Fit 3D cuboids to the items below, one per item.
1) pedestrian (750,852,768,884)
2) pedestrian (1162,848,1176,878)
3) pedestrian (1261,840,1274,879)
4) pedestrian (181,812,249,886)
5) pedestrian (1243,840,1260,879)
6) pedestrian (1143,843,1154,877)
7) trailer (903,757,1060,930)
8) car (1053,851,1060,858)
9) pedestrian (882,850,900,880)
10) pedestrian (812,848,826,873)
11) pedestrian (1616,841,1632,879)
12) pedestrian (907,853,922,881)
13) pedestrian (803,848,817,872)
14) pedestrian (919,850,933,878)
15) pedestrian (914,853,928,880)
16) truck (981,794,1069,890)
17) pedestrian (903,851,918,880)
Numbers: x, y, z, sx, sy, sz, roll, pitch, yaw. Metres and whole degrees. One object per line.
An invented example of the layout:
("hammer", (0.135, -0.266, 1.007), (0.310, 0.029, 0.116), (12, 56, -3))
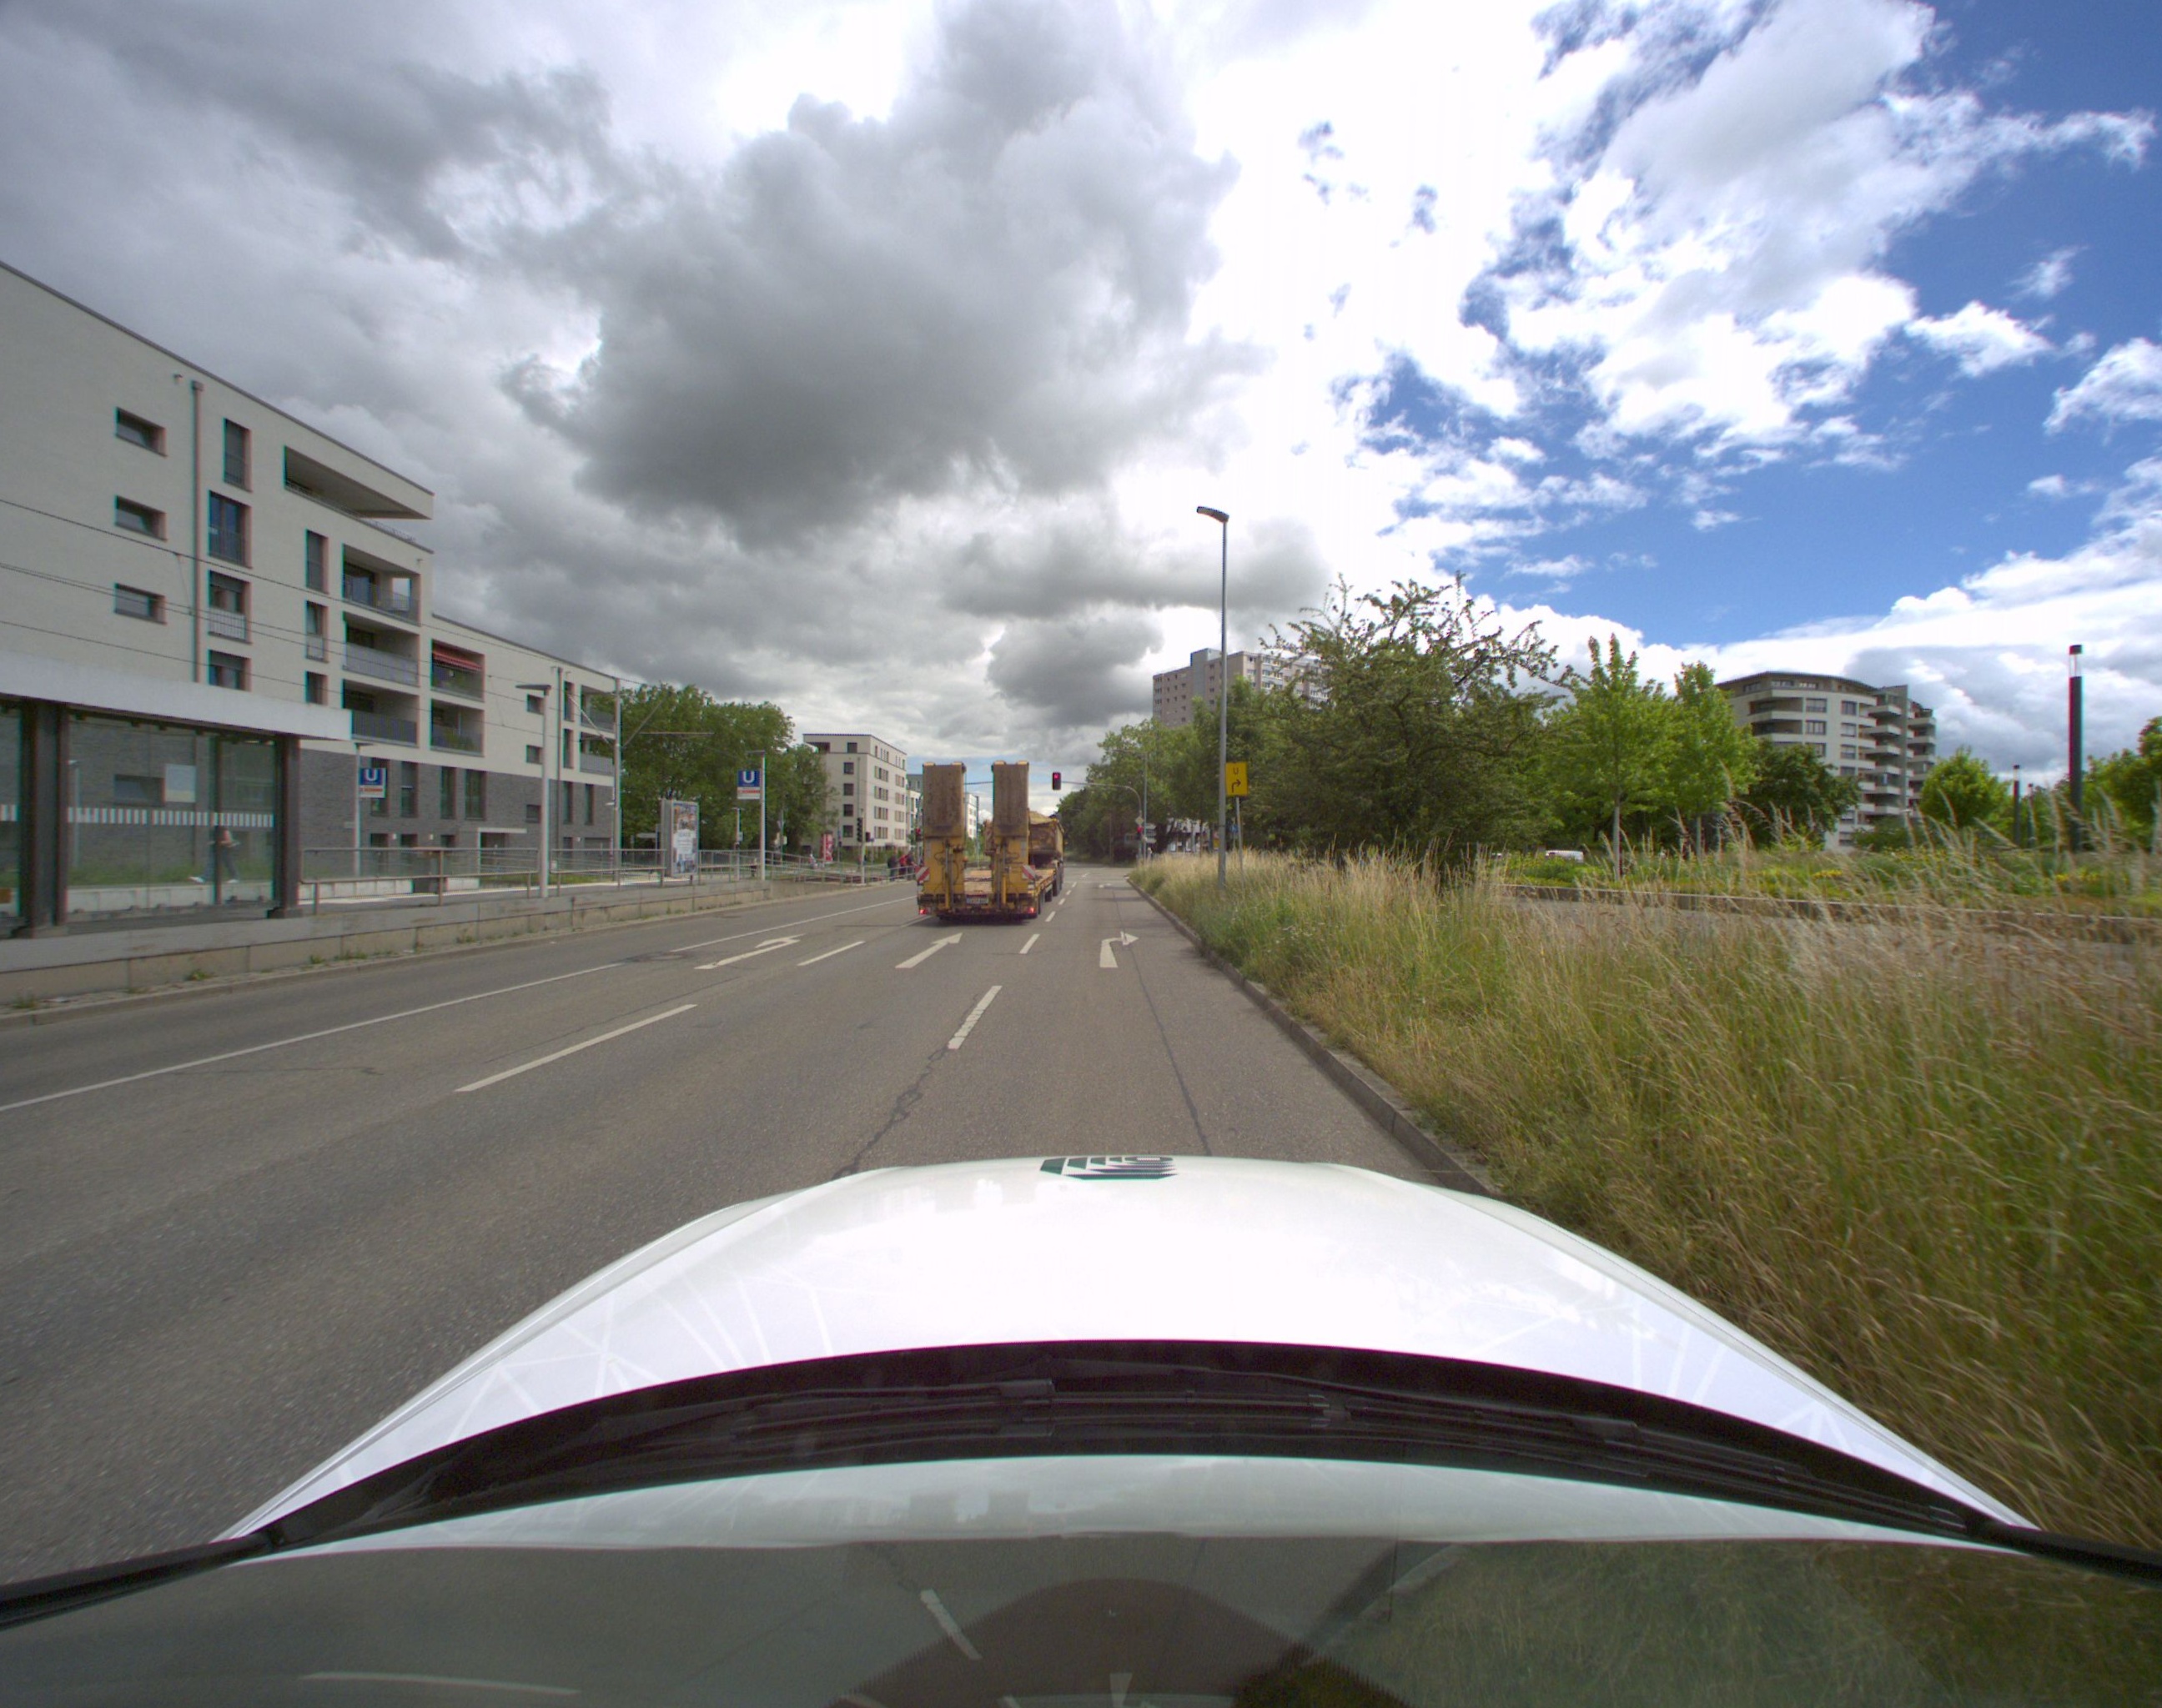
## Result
("pedestrian", (-22.434, 0.938, 56.734), (0.912, 2.204, 0.882), (0, 0, 1))
("pedestrian", (5.011, 0.518, 46.125), (0.621, 1.653, 0.566), (0, -1, 27))
("pedestrian", (9.806, 0.283, 42.840), (0.561, 2.014, 0.490), (0, -1, -8))
("pedestrian", (-21.261, -0.115, 20.011), (0.673, 1.765, 0.933), (0, 0, -1))
("pedestrian", (8.891, 0.281, 42.506), (0.671, 2.014, 0.633), (0, -1, -9))
("pedestrian", (4.006, 0.375, 48.258), (0.561, 2.014, 0.490), (0, -1, -8))
("trailer", (-2.198, -0.257, 22.437), (2.719, 3.558, 11.256), (0, 0, 1))
("car", (-6.812, 0.104, 224.052), (1.686, 1.925, 3.995), (0, 0, -3))
("pedestrian", (-10.535, 0.612, 45.101), (0.817, 1.668, 0.684), (0, 0, 2))
("pedestrian", (-23.184, 0.562, 72.120), (0.912, 2.133, 0.935), (0, 0, 1))
("pedestrian", (27.883, 0.292, 41.810), (0.573, 1.951, 0.406), (0, 0, 1))
("pedestrian", (-9.618, 0.767, 47.182), (0.679, 1.602, 0.823), (0, 0, 0))
("pedestrian", (-24.158, 0.561, 72.597), (0.912, 2.133, 0.935), (0, 0, 1))
("pedestrian", (-9.498, 0.596, 49.808), (0.679, 1.669, 0.823), (0, 0, 0))
("pedestrian", (-9.578, 0.719, 48.847), (0.679, 1.602, 0.823), (0, 0, 0))
("truck", (-1.999, -0.442, 32.272), (2.744, 3.313, 8.353), (0, 0, 1))
("pedestrian", (-9.660, 0.652, 46.233), (0.679, 1.602, 0.823), (0, 0, 0))
